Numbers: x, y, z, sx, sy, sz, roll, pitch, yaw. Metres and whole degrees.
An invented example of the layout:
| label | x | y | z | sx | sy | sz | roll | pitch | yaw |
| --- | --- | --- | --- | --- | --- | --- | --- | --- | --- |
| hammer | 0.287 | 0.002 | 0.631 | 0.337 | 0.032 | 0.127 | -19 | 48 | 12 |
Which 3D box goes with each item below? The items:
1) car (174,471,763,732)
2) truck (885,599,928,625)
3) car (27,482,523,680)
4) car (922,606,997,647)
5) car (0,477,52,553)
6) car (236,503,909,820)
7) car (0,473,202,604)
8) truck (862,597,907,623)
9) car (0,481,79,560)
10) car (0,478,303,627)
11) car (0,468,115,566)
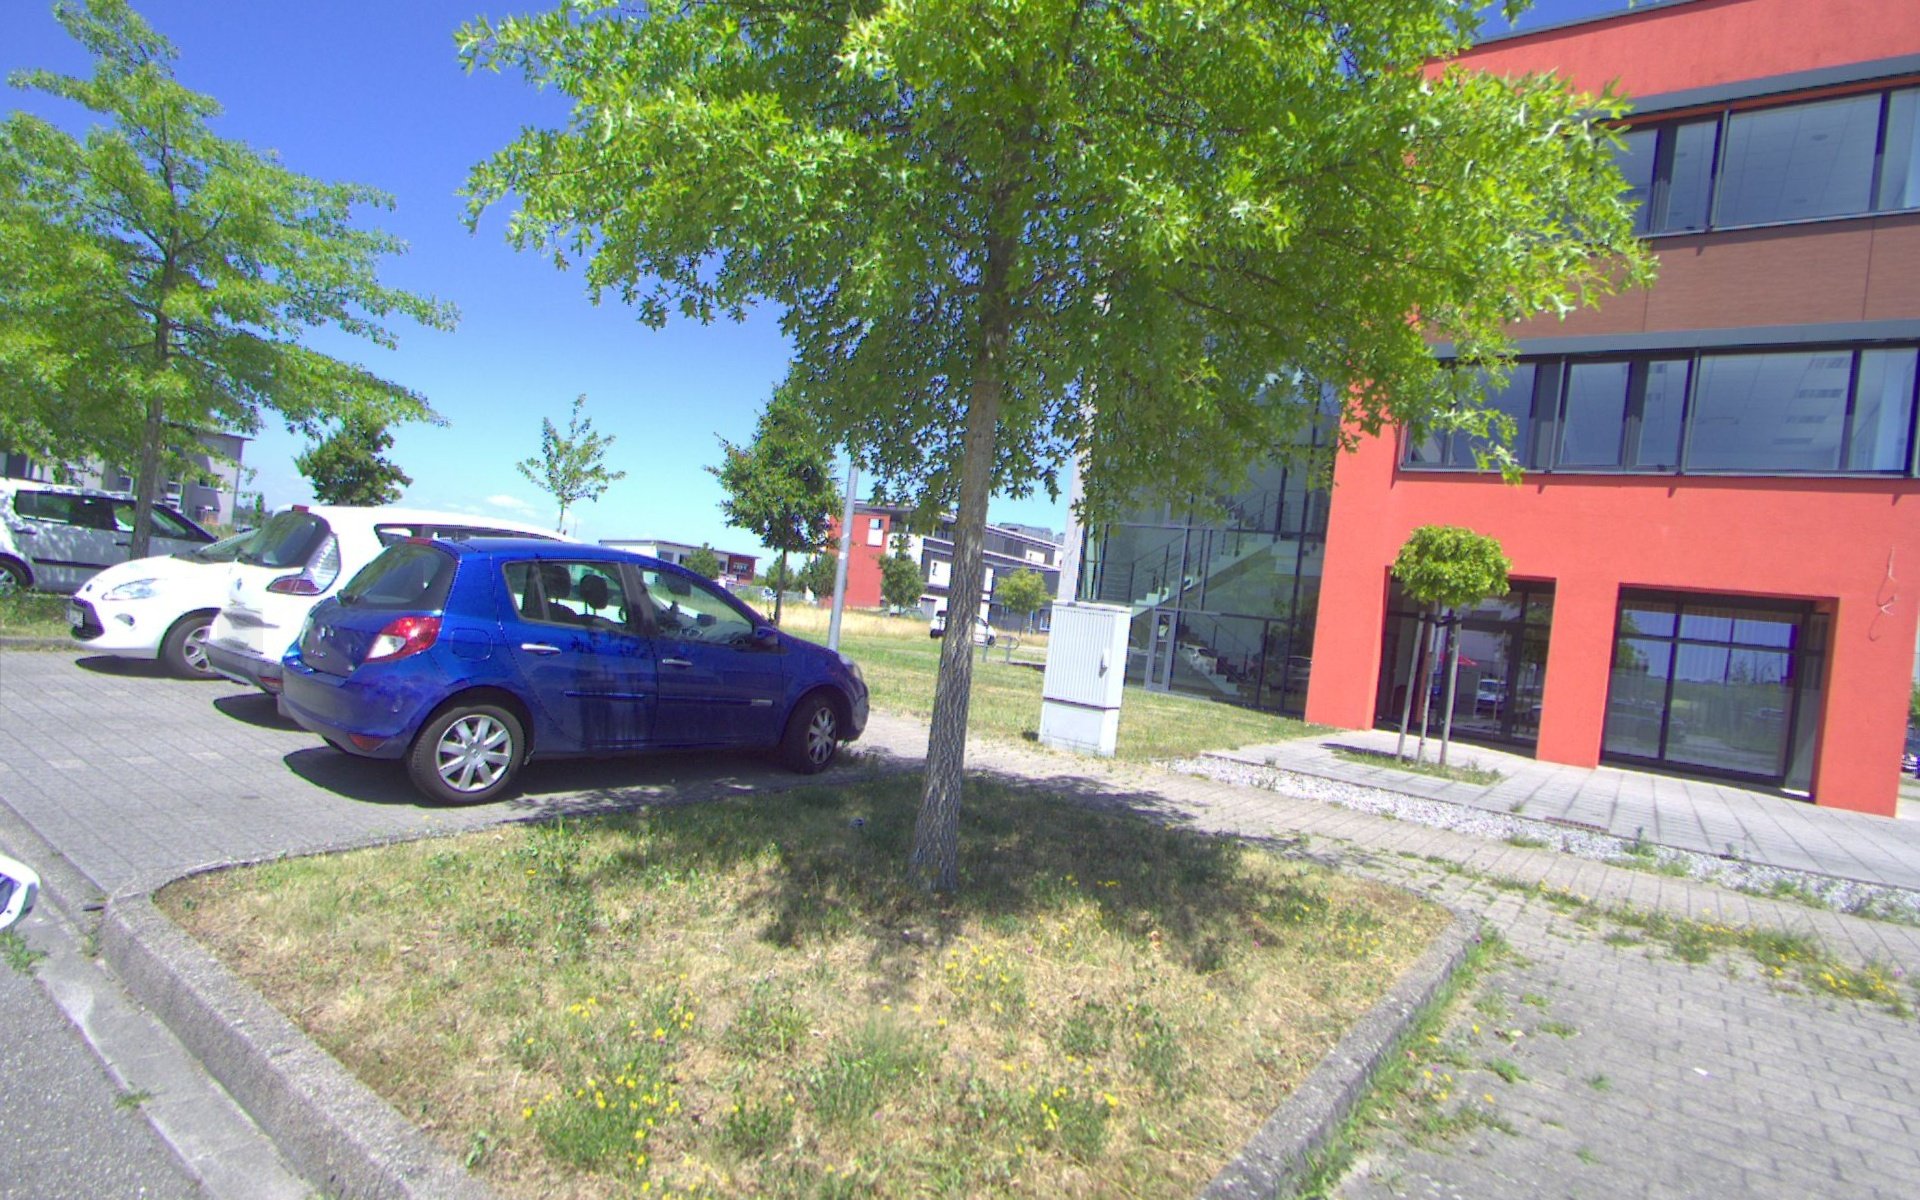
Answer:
| label | x | y | z | sx | sy | sz | roll | pitch | yaw |
| --- | --- | --- | --- | --- | --- | --- | --- | --- | --- |
| car | -3.936 | 0.049 | 8.617 | 1.749 | 1.672 | 4.101 | 8 | 2 | 40 |
| truck | -5.216 | 1.217 | 98.387 | 1.969 | 2.038 | 3.990 | 7 | -1 | 35 |
| car | -6.409 | -0.127 | 9.810 | 1.584 | 1.482 | 3.619 | 7 | 2 | 31 |
| car | 0.024 | 1.240 | 46.135 | 1.692 | 1.528 | 3.324 | 7 | -1 | 36 |
| car | -22.662 | -2.074 | 21.306 | 1.882 | 1.580 | 4.719 | 7 | 0 | 32 |
| car | -2.387 | 0.356 | 7.026 | 1.702 | 1.510 | 3.989 | 7 | 2 | 39 |
| car | -13.309 | -0.965 | 14.190 | 1.754 | 1.572 | 3.829 | 8 | 0 | 41 |
| truck | -7.408 | 0.962 | 99.579 | 1.968 | 2.038 | 4.345 | 7 | -1 | 35 |
| car | -20.420 | -1.775 | 20.026 | 1.620 | 1.471 | 4.045 | 7 | 0 | 36 |
| car | -11.141 | -0.618 | 13.128 | 1.752 | 1.543 | 3.835 | 7 | 0 | 35 |
| car | -18.440 | -1.688 | 18.532 | 1.667 | 1.645 | 4.045 | 7 | 0 | 36 |
